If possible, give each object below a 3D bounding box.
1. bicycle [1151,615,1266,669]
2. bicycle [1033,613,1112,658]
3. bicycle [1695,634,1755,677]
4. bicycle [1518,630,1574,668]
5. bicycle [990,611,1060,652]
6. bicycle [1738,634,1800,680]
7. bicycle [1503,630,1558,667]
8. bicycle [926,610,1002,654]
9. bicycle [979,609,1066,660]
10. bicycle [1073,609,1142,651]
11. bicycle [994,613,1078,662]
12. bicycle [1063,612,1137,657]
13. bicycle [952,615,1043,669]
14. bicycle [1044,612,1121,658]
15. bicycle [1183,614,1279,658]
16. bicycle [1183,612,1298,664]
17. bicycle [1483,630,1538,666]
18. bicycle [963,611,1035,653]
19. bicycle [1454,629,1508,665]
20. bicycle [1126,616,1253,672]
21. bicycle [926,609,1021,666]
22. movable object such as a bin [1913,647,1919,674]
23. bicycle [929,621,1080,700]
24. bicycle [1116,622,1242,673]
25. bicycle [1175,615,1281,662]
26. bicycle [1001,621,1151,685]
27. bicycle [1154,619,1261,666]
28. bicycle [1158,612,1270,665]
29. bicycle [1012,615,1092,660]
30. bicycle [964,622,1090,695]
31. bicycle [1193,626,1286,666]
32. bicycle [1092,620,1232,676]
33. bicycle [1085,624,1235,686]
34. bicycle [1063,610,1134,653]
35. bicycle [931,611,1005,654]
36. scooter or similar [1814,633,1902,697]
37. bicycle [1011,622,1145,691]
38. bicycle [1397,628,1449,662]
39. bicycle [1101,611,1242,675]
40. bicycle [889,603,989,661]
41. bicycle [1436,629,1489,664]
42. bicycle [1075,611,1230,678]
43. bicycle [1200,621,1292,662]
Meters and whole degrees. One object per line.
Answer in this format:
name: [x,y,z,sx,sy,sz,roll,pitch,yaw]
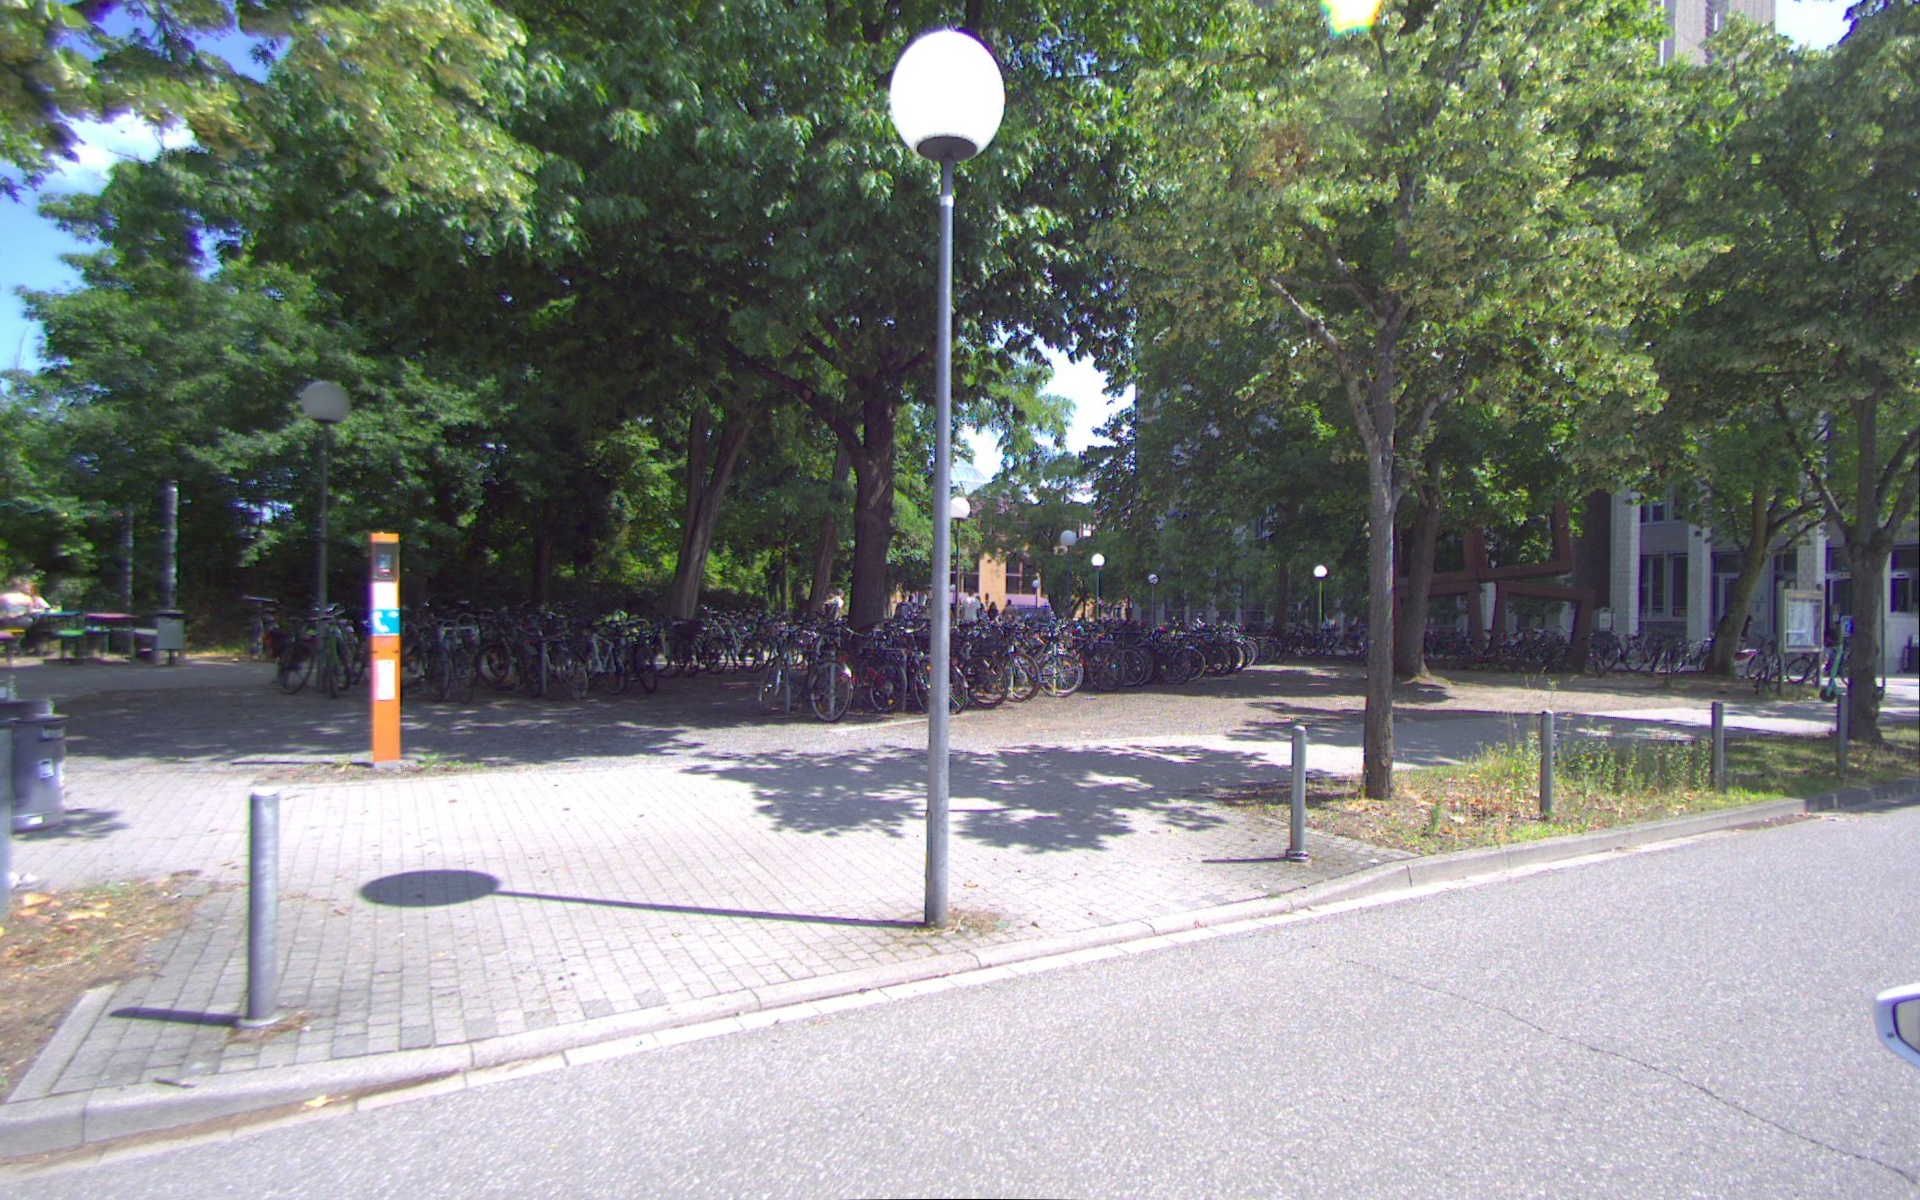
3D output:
bicycle: [6.094,1.013,24.620,2.655,1.195,0.883,1,0,18]
bicycle: [3.052,0.959,27.388,2.021,1.147,0.639,1,1,25]
bicycle: [20.489,1.479,26.903,1.950,1.101,0.549,2,1,-31]
bicycle: [17.828,1.488,30.556,1.950,1.101,0.549,2,1,-31]
bicycle: [1.969,0.942,30.478,2.021,1.147,0.639,2,1,25]
bicycle: [20.779,1.453,25.787,1.950,1.101,0.549,2,1,-31]
bicycle: [17.678,1.501,31.137,1.950,1.101,0.549,2,1,-31]
bicycle: [0.114,0.870,27.810,2.021,1.147,0.639,1,1,25]
bicycle: [1.526,0.826,24.494,2.021,1.147,0.639,1,1,25]
bicycle: [4.670,0.936,31.929,2.022,1.147,0.639,4,2,25]
bicycle: [1.928,0.934,25.538,2.021,1.147,0.639,1,1,25]
bicycle: [4.121,1.006,29.606,2.022,1.147,0.639,4,2,25]
bicycle: [0.868,0.959,23.433,2.021,1.147,0.639,2,1,25]
bicycle: [3.474,0.967,28.429,2.021,1.147,0.639,3,2,25]
bicycle: [8.326,1.092,30.872,2.781,1.249,0.743,1,0,18]
bicycle: [7.814,1.033,27.995,3.021,1.314,0.883,1,0,18]
bicycle: [17.358,1.505,31.655,1.950,1.101,0.549,2,1,-31]
bicycle: [1.145,0.921,29.526,2.021,1.147,0.639,1,1,25]
bicycle: [16.823,1.508,32.419,1.950,1.101,0.549,2,1,-31]
bicycle: [5.397,1.008,23.661,2.826,1.193,0.883,1,0,18]
bicycle: [0.286,0.821,22.327,2.021,1.173,0.639,1,1,25]
movable object such as a bin: [32.927,2.069,34.529,0.444,0.907,0.167,1,0,-36]
bicycle: [0.627,0.853,14.669,2.116,1.022,0.676,1,0,31]
bicycle: [4.935,1.047,22.652,2.679,1.016,0.883,1,0,18]
bicycle: [7.818,1.107,29.331,2.902,1.141,0.743,3,1,18]
bicycle: [2.089,0.935,18.149,2.598,1.022,0.678,1,0,18]
bicycle: [6.402,1.084,25.974,2.630,1.091,0.883,1,0,18]
bicycle: [6.867,1.009,27.143,2.875,1.304,0.883,1,0,18]
bicycle: [2.418,0.966,26.466,2.022,1.147,0.639,0,0,25]
bicycle: [1.036,0.887,15.758,1.858,1.022,0.676,1,0,31]
bicycle: [9.169,1.501,32.979,2.853,1.171,0.743,2,0,18]
bicycle: [4.143,0.963,20.594,2.728,1.028,0.883,1,0,18]
bicycle: [3.898,1.041,19.566,2.777,1.064,0.883,1,0,18]
bicycle: [4.271,0.971,31.017,2.022,1.147,0.674,4,2,25]
bicycle: [0.210,0.907,28.709,2.021,1.147,0.639,1,1,25]
scooter or similar: [17.494,1.266,19.580,1.301,1.191,0.340,1,0,5]
bicycle: [1.950,0.910,16.773,2.115,1.022,0.676,1,0,30]
bicycle: [15.828,1.530,34.311,1.950,1.101,0.549,2,1,-31]
bicycle: [4.532,0.902,21.502,2.850,1.237,0.883,1,0,18]
bicycle: [-0.446,0.653,21.210,2.021,1.147,0.639,2,1,25]
bicycle: [16.628,1.527,33.211,1.950,1.101,0.549,2,1,-31]
bicycle: [3.563,0.797,18.582,2.696,1.101,0.883,1,0,18]
bicycle: [9.039,1.302,31.761,2.708,1.083,0.743,3,1,18]
